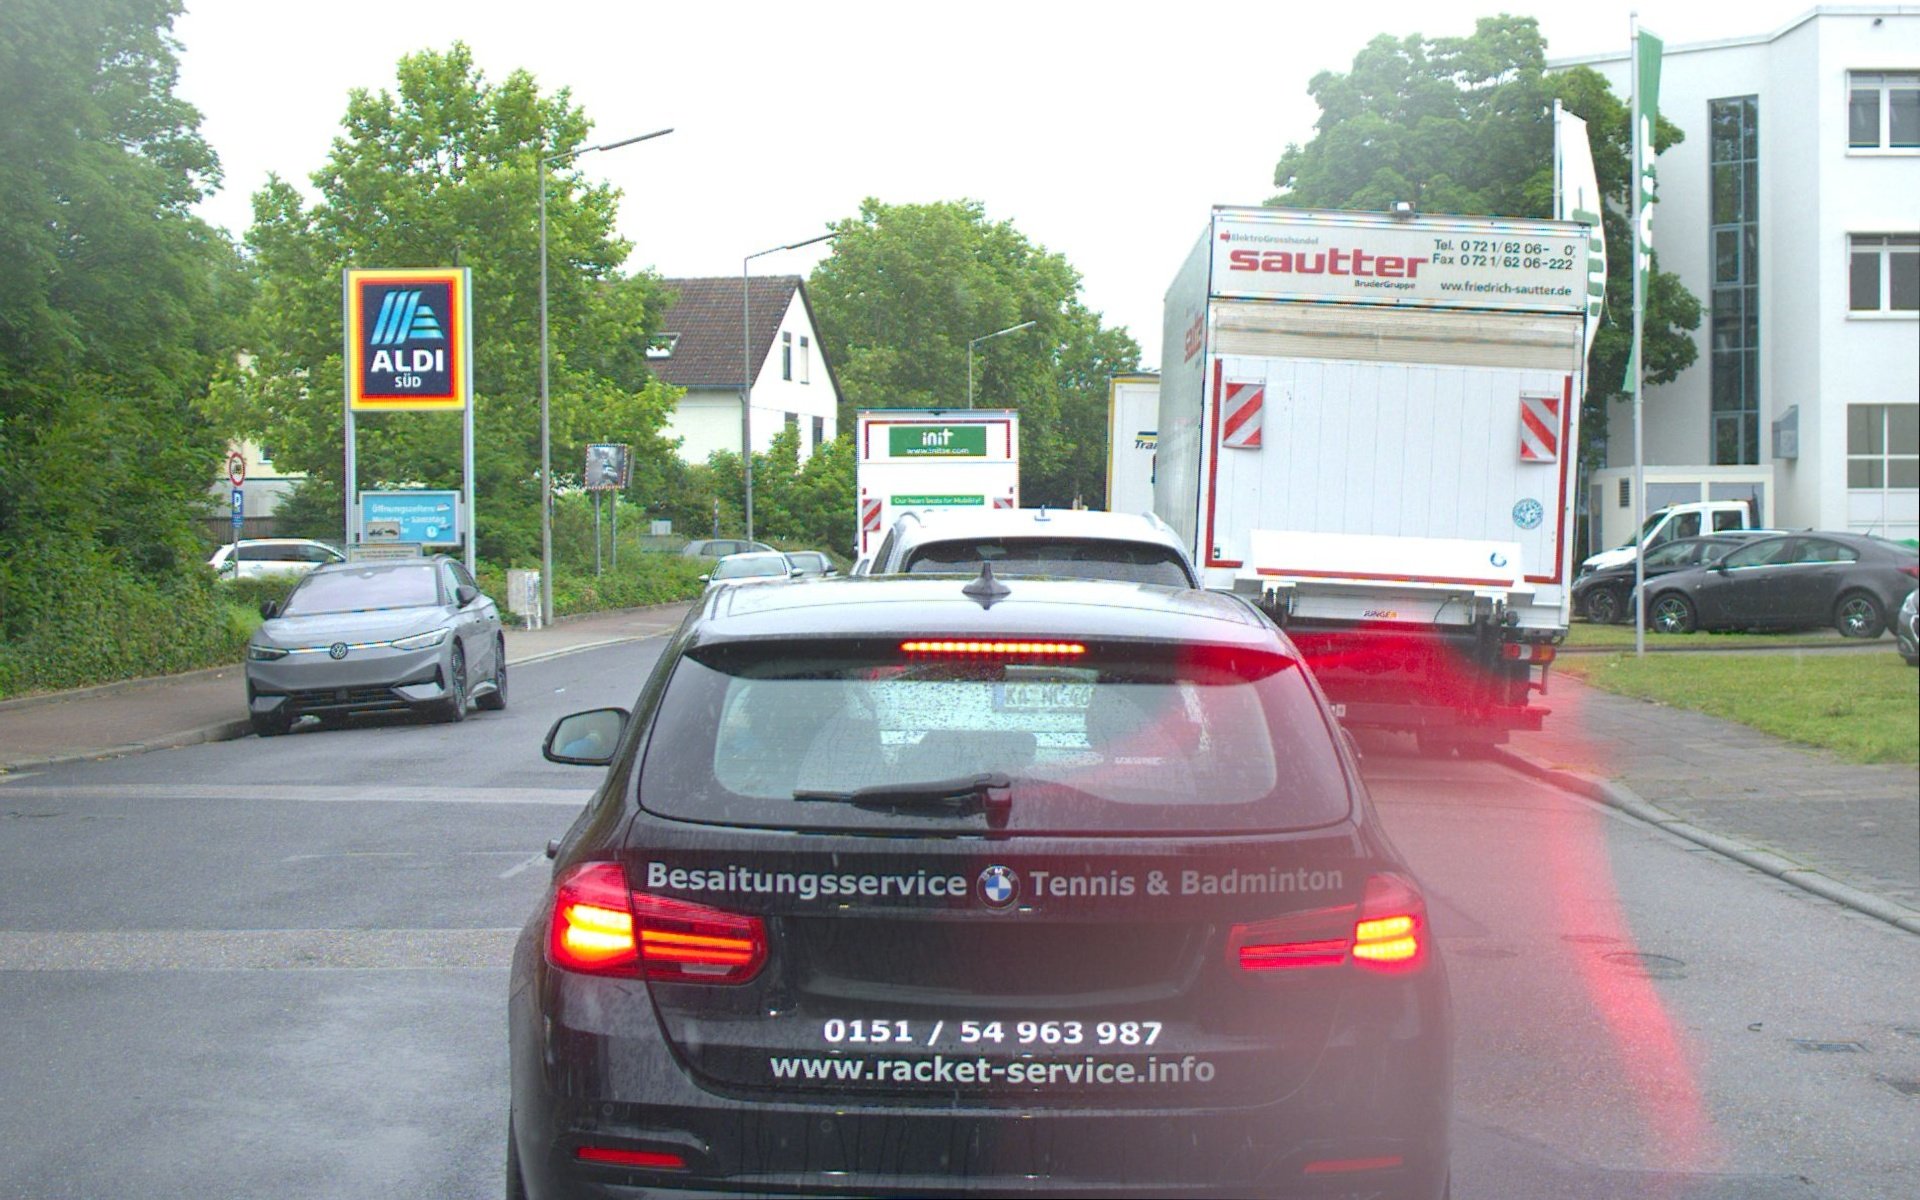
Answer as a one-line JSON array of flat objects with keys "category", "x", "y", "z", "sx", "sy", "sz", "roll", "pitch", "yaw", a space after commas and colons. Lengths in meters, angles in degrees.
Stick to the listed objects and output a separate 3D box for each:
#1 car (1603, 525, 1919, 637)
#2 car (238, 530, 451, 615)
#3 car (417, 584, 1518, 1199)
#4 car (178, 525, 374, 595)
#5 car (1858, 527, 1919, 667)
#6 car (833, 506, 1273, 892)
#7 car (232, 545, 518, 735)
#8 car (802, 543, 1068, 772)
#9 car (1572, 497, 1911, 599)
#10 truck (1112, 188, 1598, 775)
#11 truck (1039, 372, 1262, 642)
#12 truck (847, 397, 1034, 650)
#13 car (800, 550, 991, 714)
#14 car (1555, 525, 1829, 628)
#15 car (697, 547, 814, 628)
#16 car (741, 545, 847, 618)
[{"category": "car", "x": 11.326, "y": -0.285, "z": 47.073, "sx": 4.671, "sy": 1.463, "sz": 1.787, "roll": 1, "pitch": 1, "yaw": 38}, {"category": "car", "x": -11.382, "y": -0.513, "z": 63.676, "sx": 3.570, "sy": 1.455, "sz": 1.712, "roll": 2, "pitch": 1, "yaw": 2}, {"category": "car", "x": -0.043, "y": 0.684, "z": 7.662, "sx": 1.804, "sy": 1.390, "sz": 4.000, "roll": 1, "pitch": 1, "yaw": -2}, {"category": "car", "x": -15.282, "y": -0.906, "z": 76.934, "sx": 3.987, "sy": 1.535, "sz": 1.911, "roll": 0, "pitch": 1, "yaw": 2}, {"category": "car", "x": 11.009, "y": -0.059, "z": 35.403, "sx": 3.758, "sy": 1.388, "sz": 1.705, "roll": -1, "pitch": 2, "yaw": -44}, {"category": "car", "x": 0.331, "y": 0.386, "z": 16.205, "sx": 1.804, "sy": 1.581, "sz": 4.000, "roll": 1, "pitch": 1, "yaw": -2}, {"category": "car", "x": -5.372, "y": 0.315, "z": 32.164, "sx": 1.809, "sy": 1.523, "sz": 4.748, "roll": -4, "pitch": 1, "yaw": 0}, {"category": "car", "x": -0.227, "y": 0.370, "z": 25.501, "sx": 1.804, "sy": 1.547, "sz": 4.000, "roll": 1, "pitch": 1, "yaw": -2}, {"category": "car", "x": 15.961, "y": -1.056, "z": 70.407, "sx": 6.452, "sy": 2.007, "sz": 2.000, "roll": 1, "pitch": 0, "yaw": -4}, {"category": "truck", "x": 2.819, "y": -0.875, "z": 27.424, "sx": 2.741, "sy": 3.776, "sz": 9.299, "roll": 2, "pitch": 1, "yaw": 1}, {"category": "truck", "x": 2.697, "y": -1.346, "z": 50.974, "sx": 2.741, "sy": 3.598, "sz": 7.750, "roll": 2, "pitch": 1, "yaw": 0}, {"category": "truck", "x": -0.298, "y": -1.236, "z": 49.432, "sx": 2.341, "sy": 3.245, "sz": 7.752, "roll": 2, "pitch": 3, "yaw": -1}, {"category": "car", "x": -0.674, "y": 0.284, "z": 34.788, "sx": 1.804, "sy": 1.547, "sz": 4.000, "roll": 1, "pitch": 1, "yaw": -2}, {"category": "car", "x": 11.415, "y": -0.393, "z": 53.735, "sx": 3.778, "sy": 1.392, "sz": 1.723, "roll": 4, "pitch": 4, "yaw": 41}, {"category": "car", "x": -3.835, "y": -0.262, "z": 65.159, "sx": 1.705, "sy": 1.362, "sz": 4.601, "roll": -2, "pitch": 1, "yaw": 2}, {"category": "car", "x": -3.414, "y": -0.403, "z": 71.253, "sx": 1.706, "sy": 1.362, "sz": 3.838, "roll": -2, "pitch": 1, "yaw": 4}]
